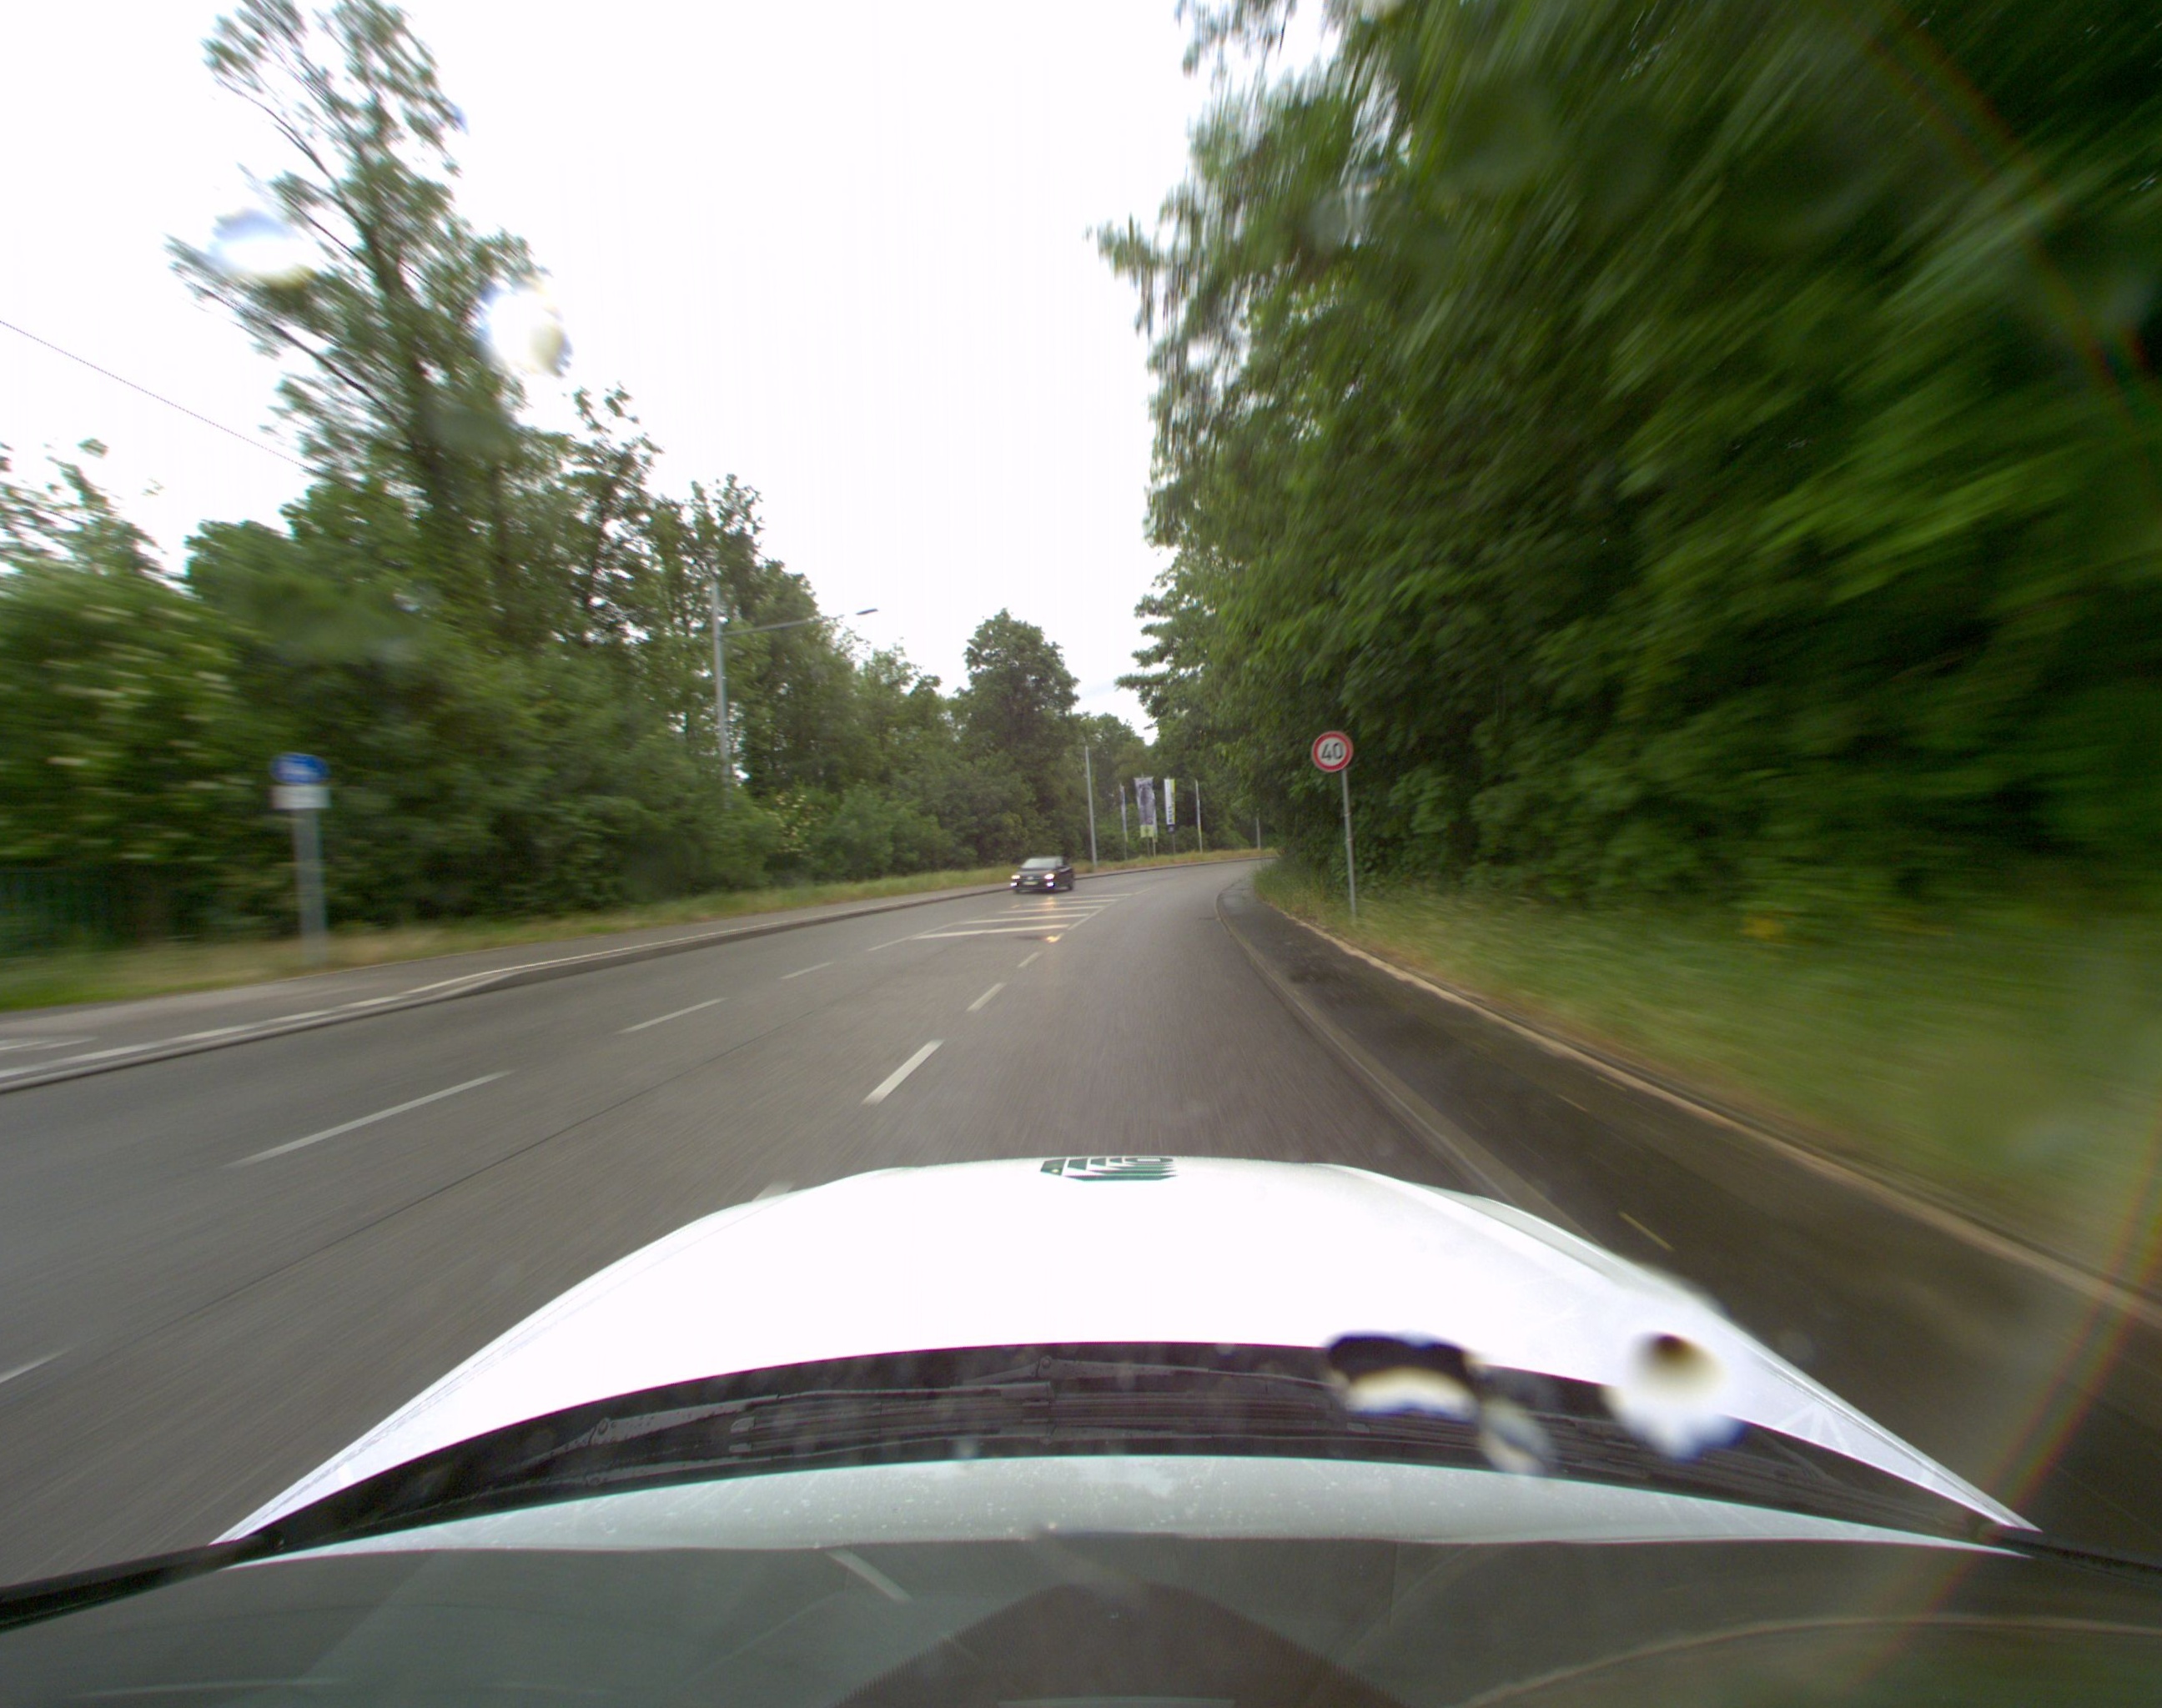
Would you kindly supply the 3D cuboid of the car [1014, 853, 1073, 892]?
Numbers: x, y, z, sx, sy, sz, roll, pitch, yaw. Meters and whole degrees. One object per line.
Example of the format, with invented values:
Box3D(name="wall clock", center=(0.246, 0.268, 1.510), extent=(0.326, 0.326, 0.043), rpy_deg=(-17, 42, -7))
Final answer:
Box3D(name="car", center=(-1.439, 0.699, 33.020), extent=(1.584, 1.477, 3.803), rpy_deg=(0, 0, 10))
